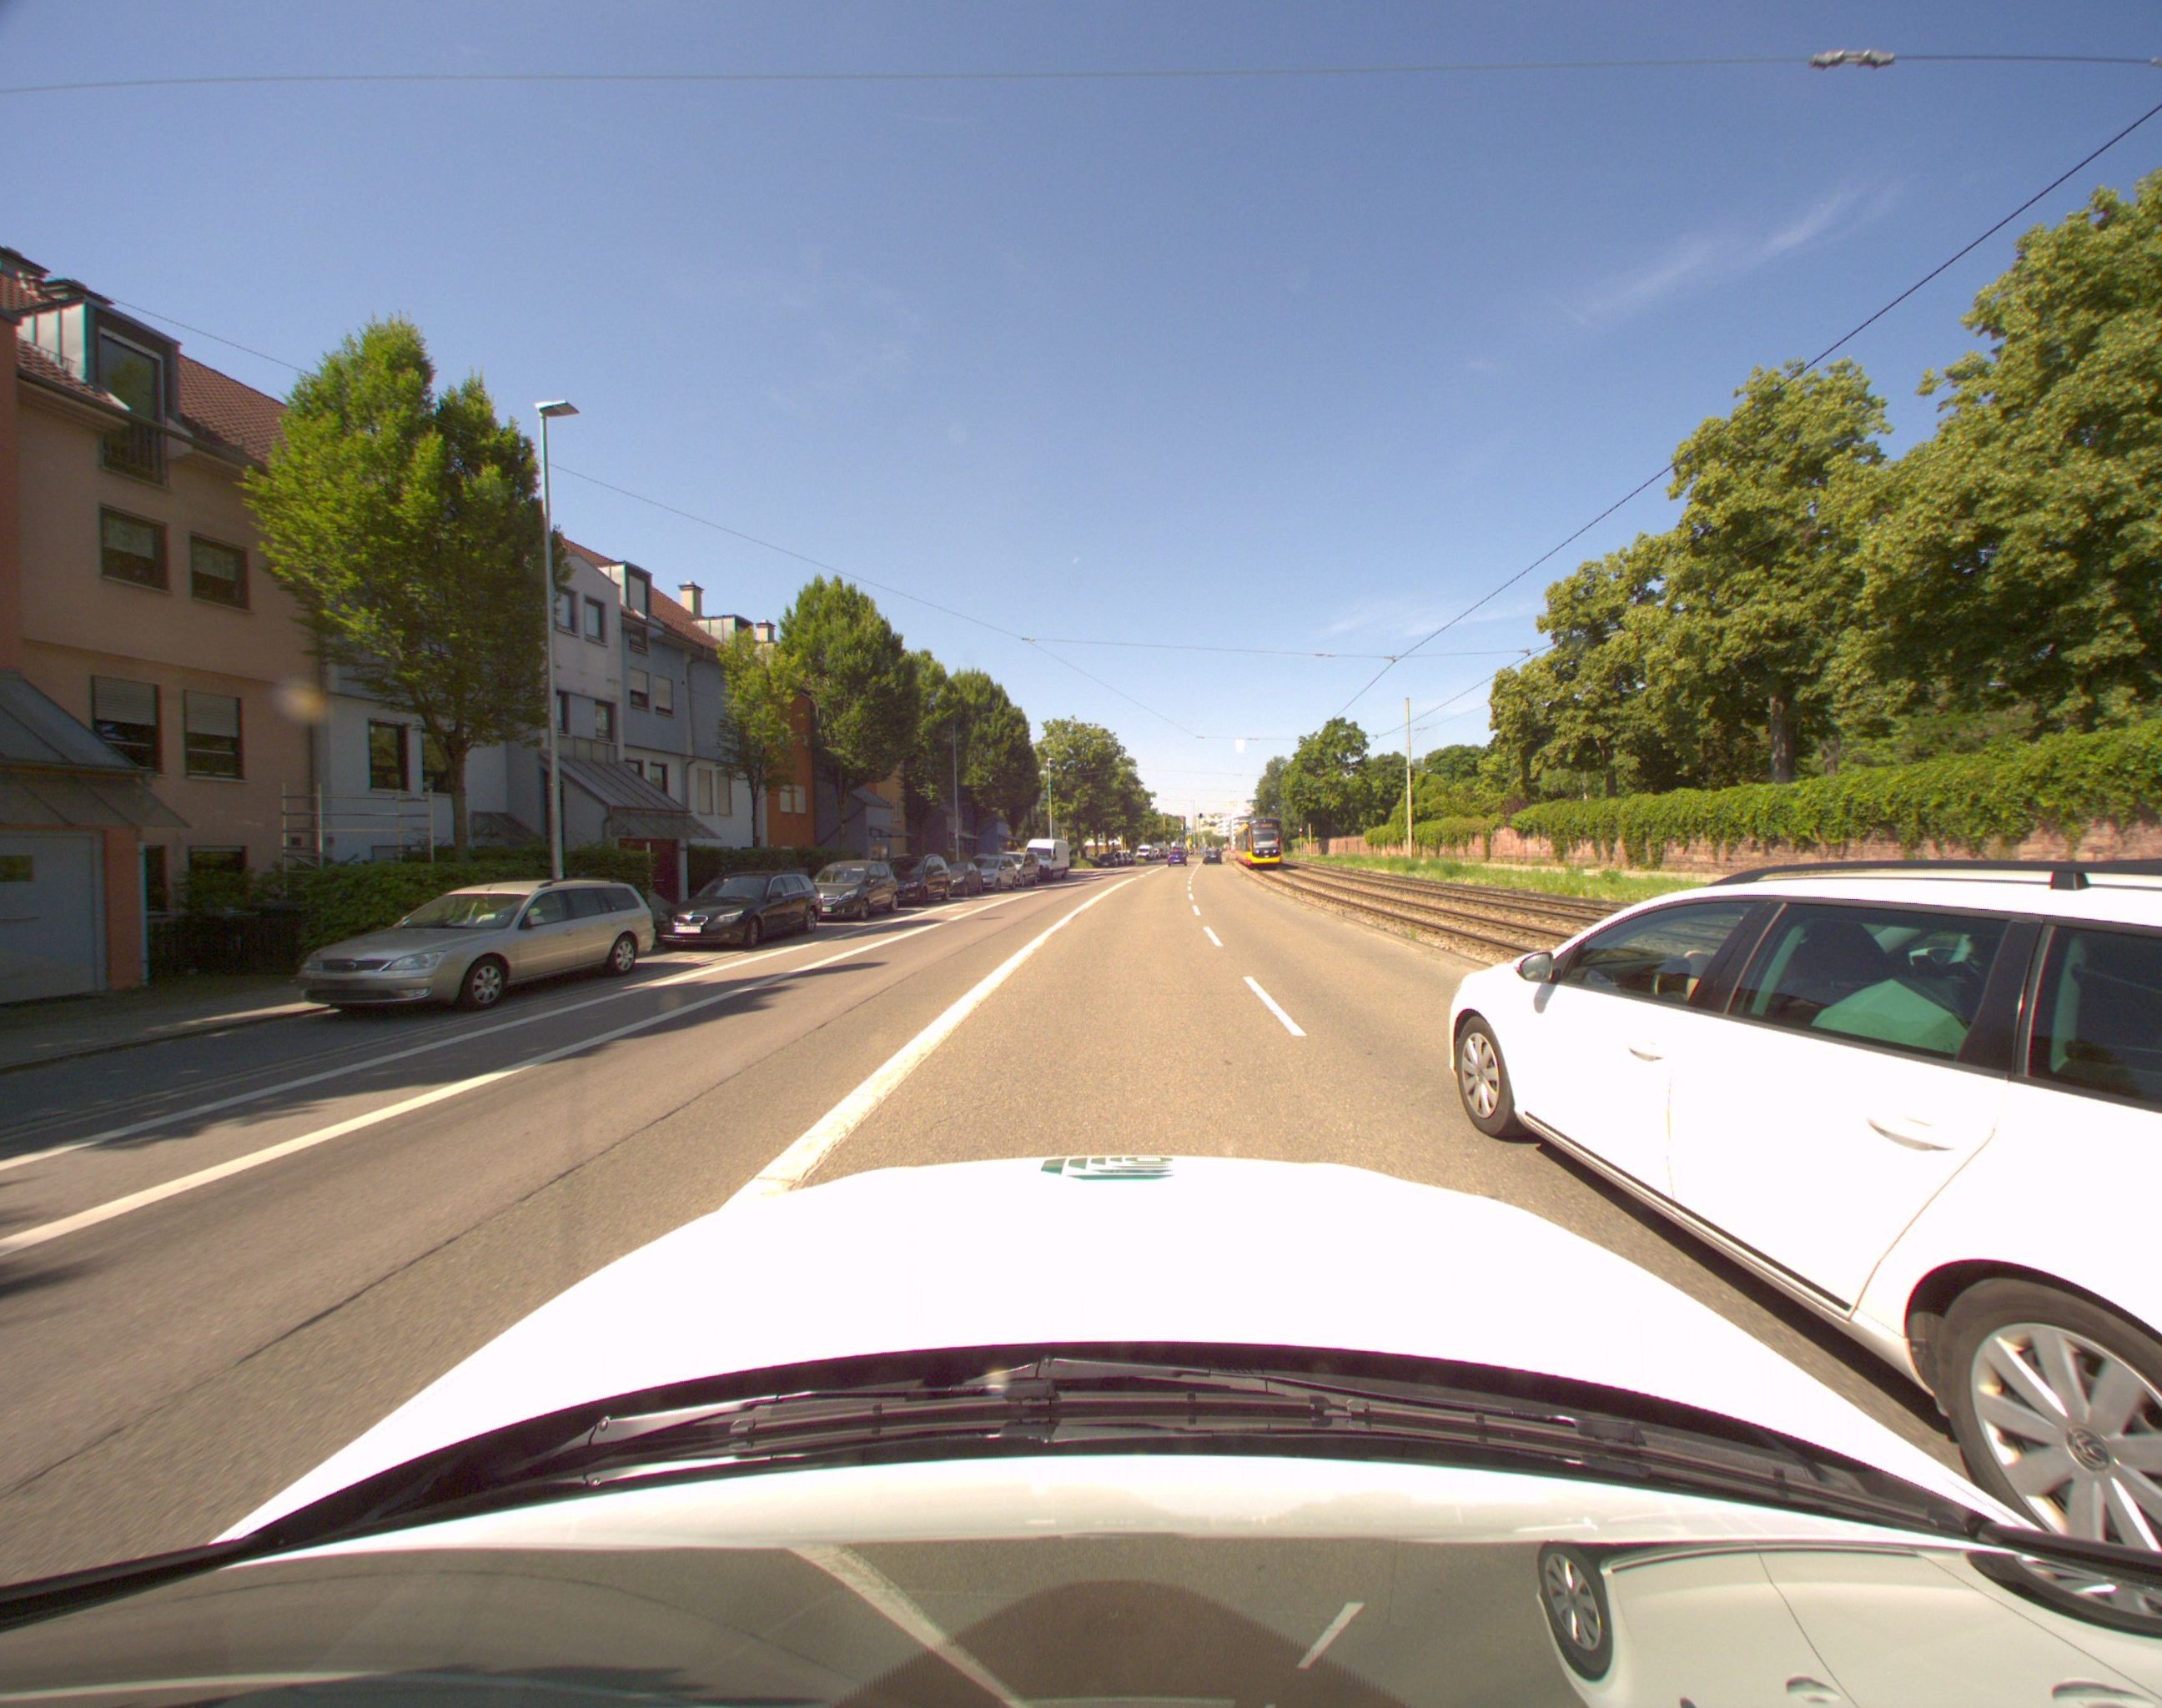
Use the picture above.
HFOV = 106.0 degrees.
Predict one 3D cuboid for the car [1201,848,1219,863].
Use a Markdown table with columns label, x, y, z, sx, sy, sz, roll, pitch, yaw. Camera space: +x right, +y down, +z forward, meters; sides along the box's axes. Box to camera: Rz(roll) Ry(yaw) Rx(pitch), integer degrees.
| label | x | y | z | sx | sy | sz | roll | pitch | yaw |
| --- | --- | --- | --- | --- | --- | --- | --- | --- | --- |
| car | 13.797 | 0.129 | 87.254 | 1.790 | 1.460 | 4.010 | -1 | 0 | 8 |

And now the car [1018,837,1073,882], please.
| label | x | y | z | sx | sy | sz | roll | pitch | yaw |
| --- | --- | --- | --- | --- | --- | --- | --- | --- | --- |
| car | -2.201 | 0.350 | 53.282 | 1.982 | 2.714 | 7.177 | 1 | 0 | 10 |

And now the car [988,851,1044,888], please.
| label | x | y | z | sx | sy | sz | roll | pitch | yaw |
| --- | --- | --- | --- | --- | --- | --- | --- | --- | --- |
| car | -3.545 | 0.815 | 45.478 | 1.908 | 1.948 | 5.367 | 1 | 0 | 9 |

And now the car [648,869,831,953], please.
| label | x | y | z | sx | sy | sz | roll | pitch | yaw |
| --- | --- | --- | --- | --- | --- | --- | --- | --- | --- |
| car | -7.135 | 1.122 | 17.636 | 1.715 | 1.474 | 4.719 | 0 | 0 | 4 |

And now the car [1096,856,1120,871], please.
| label | x | y | z | sx | sy | sz | roll | pitch | yaw |
| --- | --- | --- | --- | --- | --- | --- | --- | --- | --- |
| car | 2.778 | 1.005 | 83.585 | 1.688 | 1.417 | 4.014 | -2 | 0 | 12 |

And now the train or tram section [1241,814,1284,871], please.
| label | x | y | z | sx | sy | sz | roll | pitch | yaw |
| --- | --- | --- | --- | --- | --- | --- | --- | --- | --- |
| train or tram section | 13.509 | -0.833 | 61.404 | 2.496 | 3.747 | 13.348 | -2 | 0 | 10 |

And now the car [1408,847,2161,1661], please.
| label | x | y | z | sx | sy | sz | roll | pitch | yaw |
| --- | --- | --- | --- | --- | --- | --- | --- | --- | --- |
| car | 2.867 | 0.726 | 2.972 | 1.684 | 1.451 | 4.461 | -2 | 0 | 2 |

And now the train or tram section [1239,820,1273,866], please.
| label | x | y | z | sx | sy | sz | roll | pitch | yaw |
| --- | --- | --- | --- | --- | --- | --- | --- | --- | --- |
| train or tram section | 15.830 | -0.923 | 74.507 | 2.496 | 3.747 | 13.348 | -2 | 0 | 10 |

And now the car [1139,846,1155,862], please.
| label | x | y | z | sx | sy | sz | roll | pitch | yaw |
| --- | --- | --- | --- | --- | --- | --- | --- | --- | --- |
| car | 10.557 | -0.008 | 130.265 | 1.867 | 2.415 | 5.133 | -2 | 0 | 12 |

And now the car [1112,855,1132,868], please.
| label | x | y | z | sx | sy | sz | roll | pitch | yaw |
| --- | --- | --- | --- | --- | --- | --- | --- | --- | --- |
| car | 4.883 | 0.869 | 96.411 | 1.688 | 1.352 | 4.014 | -2 | 0 | 12 |

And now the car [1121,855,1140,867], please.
| label | x | y | z | sx | sy | sz | roll | pitch | yaw |
| --- | --- | --- | --- | --- | --- | --- | --- | --- | --- |
| car | 6.191 | 0.842 | 101.589 | 1.688 | 1.352 | 4.014 | -2 | 0 | 12 |

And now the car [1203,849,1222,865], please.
| label | x | y | z | sx | sy | sz | roll | pitch | yaw |
| --- | --- | --- | --- | --- | --- | --- | --- | --- | --- |
| car | 12.892 | 0.259 | 80.123 | 1.790 | 1.507 | 4.010 | -1 | 0 | 8 |

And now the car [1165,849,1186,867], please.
| label | x | y | z | sx | sy | sz | roll | pitch | yaw |
| --- | --- | --- | --- | --- | --- | --- | --- | --- | --- |
| car | 8.767 | 0.331 | 75.212 | 1.790 | 1.507 | 4.010 | -1 | 1 | 8 |

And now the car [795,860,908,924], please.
| label | x | y | z | sx | sy | sz | roll | pitch | yaw |
| --- | --- | --- | --- | --- | --- | --- | --- | --- | --- |
| car | -6.532 | 1.029 | 23.664 | 1.709 | 1.625 | 4.319 | 0 | 0 | 5 |

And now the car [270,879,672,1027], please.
| label | x | y | z | sx | sy | sz | roll | pitch | yaw |
| --- | --- | --- | --- | --- | --- | --- | --- | --- | --- |
| car | -7.847 | 1.148 | 11.279 | 1.774 | 1.483 | 4.859 | 0 | 0 | 2 |

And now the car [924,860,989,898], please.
| label | x | y | z | sx | sy | sz | roll | pitch | yaw |
| --- | --- | --- | --- | --- | --- | --- | --- | --- | --- |
| car | -5.212 | 1.022 | 34.633 | 1.681 | 1.474 | 4.056 | 1 | 0 | 7 |

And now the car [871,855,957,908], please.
| label | x | y | z | sx | sy | sz | roll | pitch | yaw |
| --- | --- | --- | --- | --- | --- | --- | --- | --- | --- |
| car | -5.853 | 0.908 | 29.177 | 1.761 | 1.723 | 4.875 | 0 | 0 | 4 |

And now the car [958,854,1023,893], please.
| label | x | y | z | sx | sy | sz | roll | pitch | yaw |
| --- | --- | --- | --- | --- | --- | --- | --- | --- | --- |
| car | -4.317 | 0.889 | 39.737 | 1.790 | 1.724 | 4.923 | 1 | 0 | 10 |
